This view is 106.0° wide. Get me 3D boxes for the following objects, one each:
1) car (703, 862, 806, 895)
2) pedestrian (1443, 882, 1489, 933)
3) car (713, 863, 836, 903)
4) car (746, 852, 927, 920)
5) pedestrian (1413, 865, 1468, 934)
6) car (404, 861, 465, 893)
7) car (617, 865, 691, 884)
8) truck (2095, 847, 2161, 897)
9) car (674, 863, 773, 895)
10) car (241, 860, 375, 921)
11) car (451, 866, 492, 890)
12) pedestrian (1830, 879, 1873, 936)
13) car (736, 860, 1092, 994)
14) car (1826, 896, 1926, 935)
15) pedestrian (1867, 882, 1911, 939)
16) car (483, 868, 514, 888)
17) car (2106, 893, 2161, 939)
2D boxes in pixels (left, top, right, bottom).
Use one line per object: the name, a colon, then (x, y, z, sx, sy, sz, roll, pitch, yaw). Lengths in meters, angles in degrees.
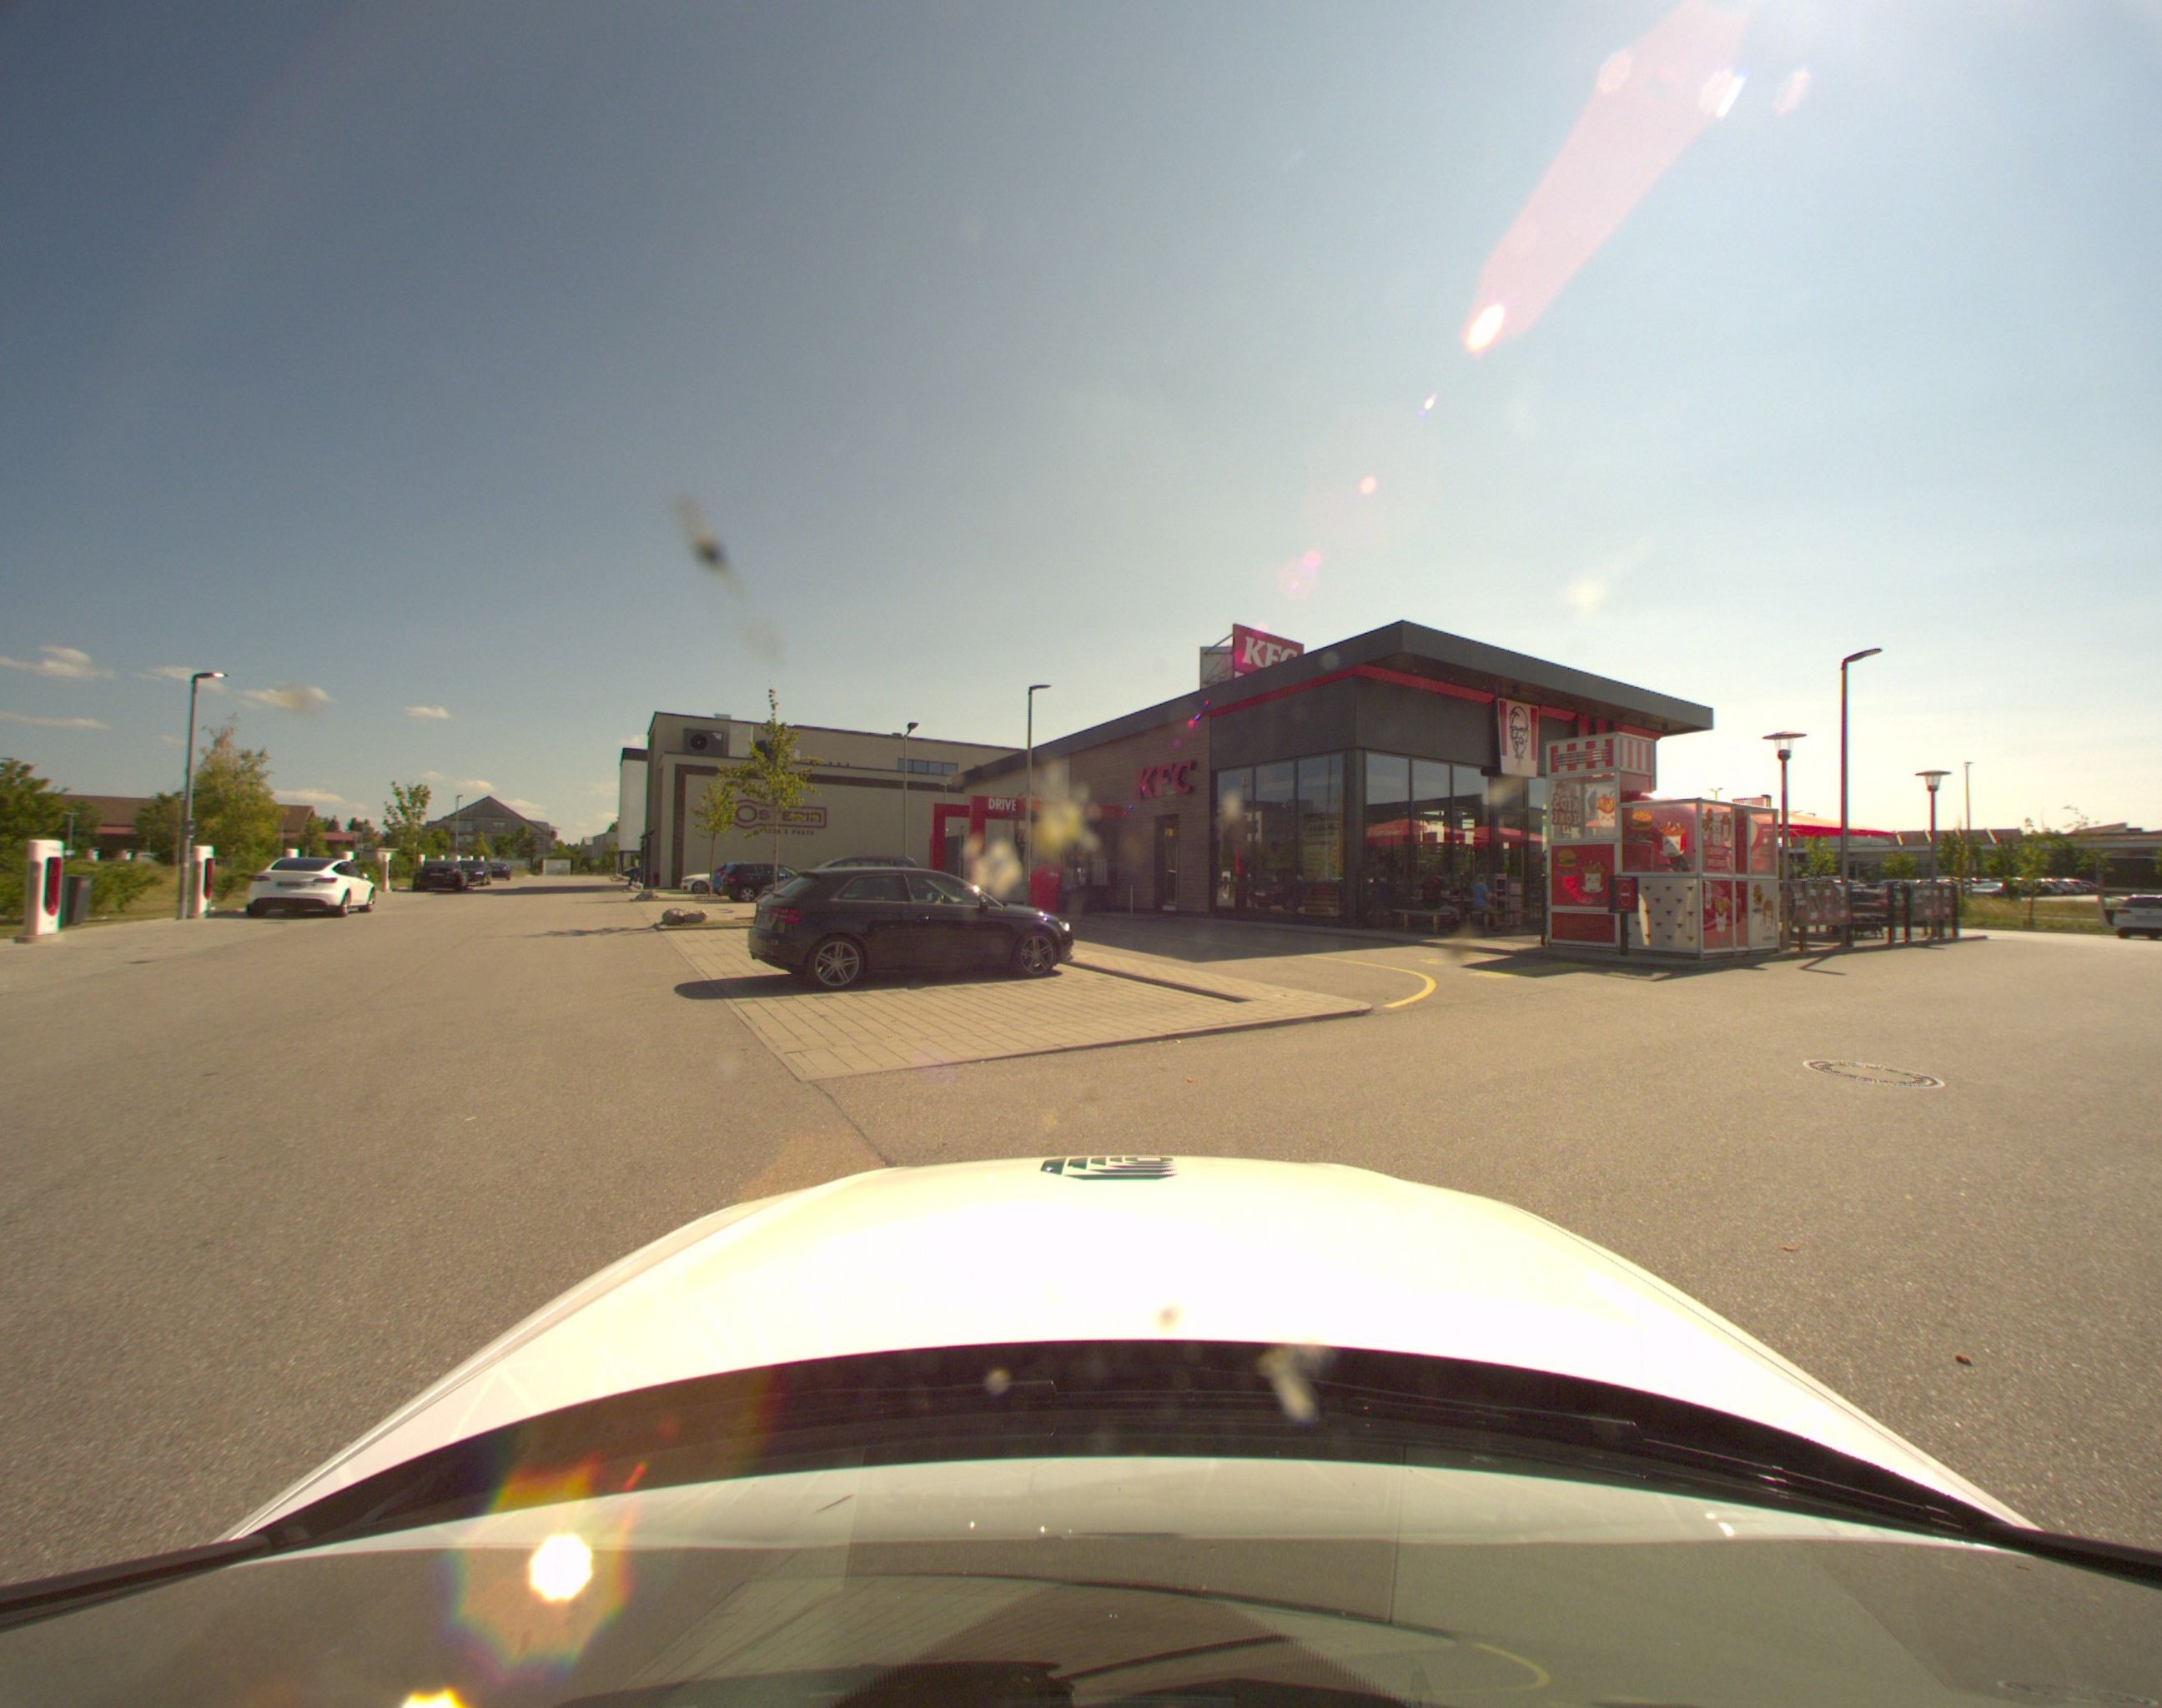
car: (-14.683, 1.102, 36.690, 4.016, 1.420, 1.633, 2, -2, -35)
pedestrian: (8.457, 1.151, 17.889, 0.720, 1.072, 0.622, 1, -1, -34)
car: (-11.473, 1.082, 30.581, 4.016, 1.420, 1.633, 2, -2, -35)
car: (-6.547, 0.851, 22.069, 4.403, 1.685, 1.623, 2, -2, -36)
pedestrian: (7.710, 0.958, 17.478, 0.803, 1.435, 0.764, 1, -1, -34)
car: (-32.775, 1.139, 41.370, 1.958, 1.568, 3.959, 2, -1, -32)
car: (-27.086, 1.272, 51.675, 4.014, 1.156, 1.979, 1, -1, -33)
truck: (73.594, 1.224, 54.459, 2.405, 3.352, 7.570, 1, -1, 2)
car: (-16.839, 1.193, 38.416, 4.016, 1.420, 1.633, 2, -2, -35)
car: (-21.783, 0.978, 23.149, 1.958, 1.568, 3.959, 2, -1, -32)
car: (-38.425, 1.491, 51.403, 1.755, 1.387, 3.959, 2, -1, -33)
pedestrian: (17.822, 1.218, 18.847, 0.588, 1.270, 0.690, 0, -2, 33)
car: (-2.089, 0.850, 10.641, 4.228, 1.441, 1.681, 2, -2, -32)
car: (32.511, 2.480, 33.310, 3.759, 1.454, 1.674, 1, -1, -24)
pedestrian: (18.379, 1.272, 18.537, 0.588, 1.270, 0.690, 0, -2, 33)
car: (-47.245, 1.941, 66.115, 1.755, 1.568, 3.959, 2, -2, -33)
car: (35.607, 2.000, 26.531, 4.162, 1.398, 1.873, 2, -1, -26)
